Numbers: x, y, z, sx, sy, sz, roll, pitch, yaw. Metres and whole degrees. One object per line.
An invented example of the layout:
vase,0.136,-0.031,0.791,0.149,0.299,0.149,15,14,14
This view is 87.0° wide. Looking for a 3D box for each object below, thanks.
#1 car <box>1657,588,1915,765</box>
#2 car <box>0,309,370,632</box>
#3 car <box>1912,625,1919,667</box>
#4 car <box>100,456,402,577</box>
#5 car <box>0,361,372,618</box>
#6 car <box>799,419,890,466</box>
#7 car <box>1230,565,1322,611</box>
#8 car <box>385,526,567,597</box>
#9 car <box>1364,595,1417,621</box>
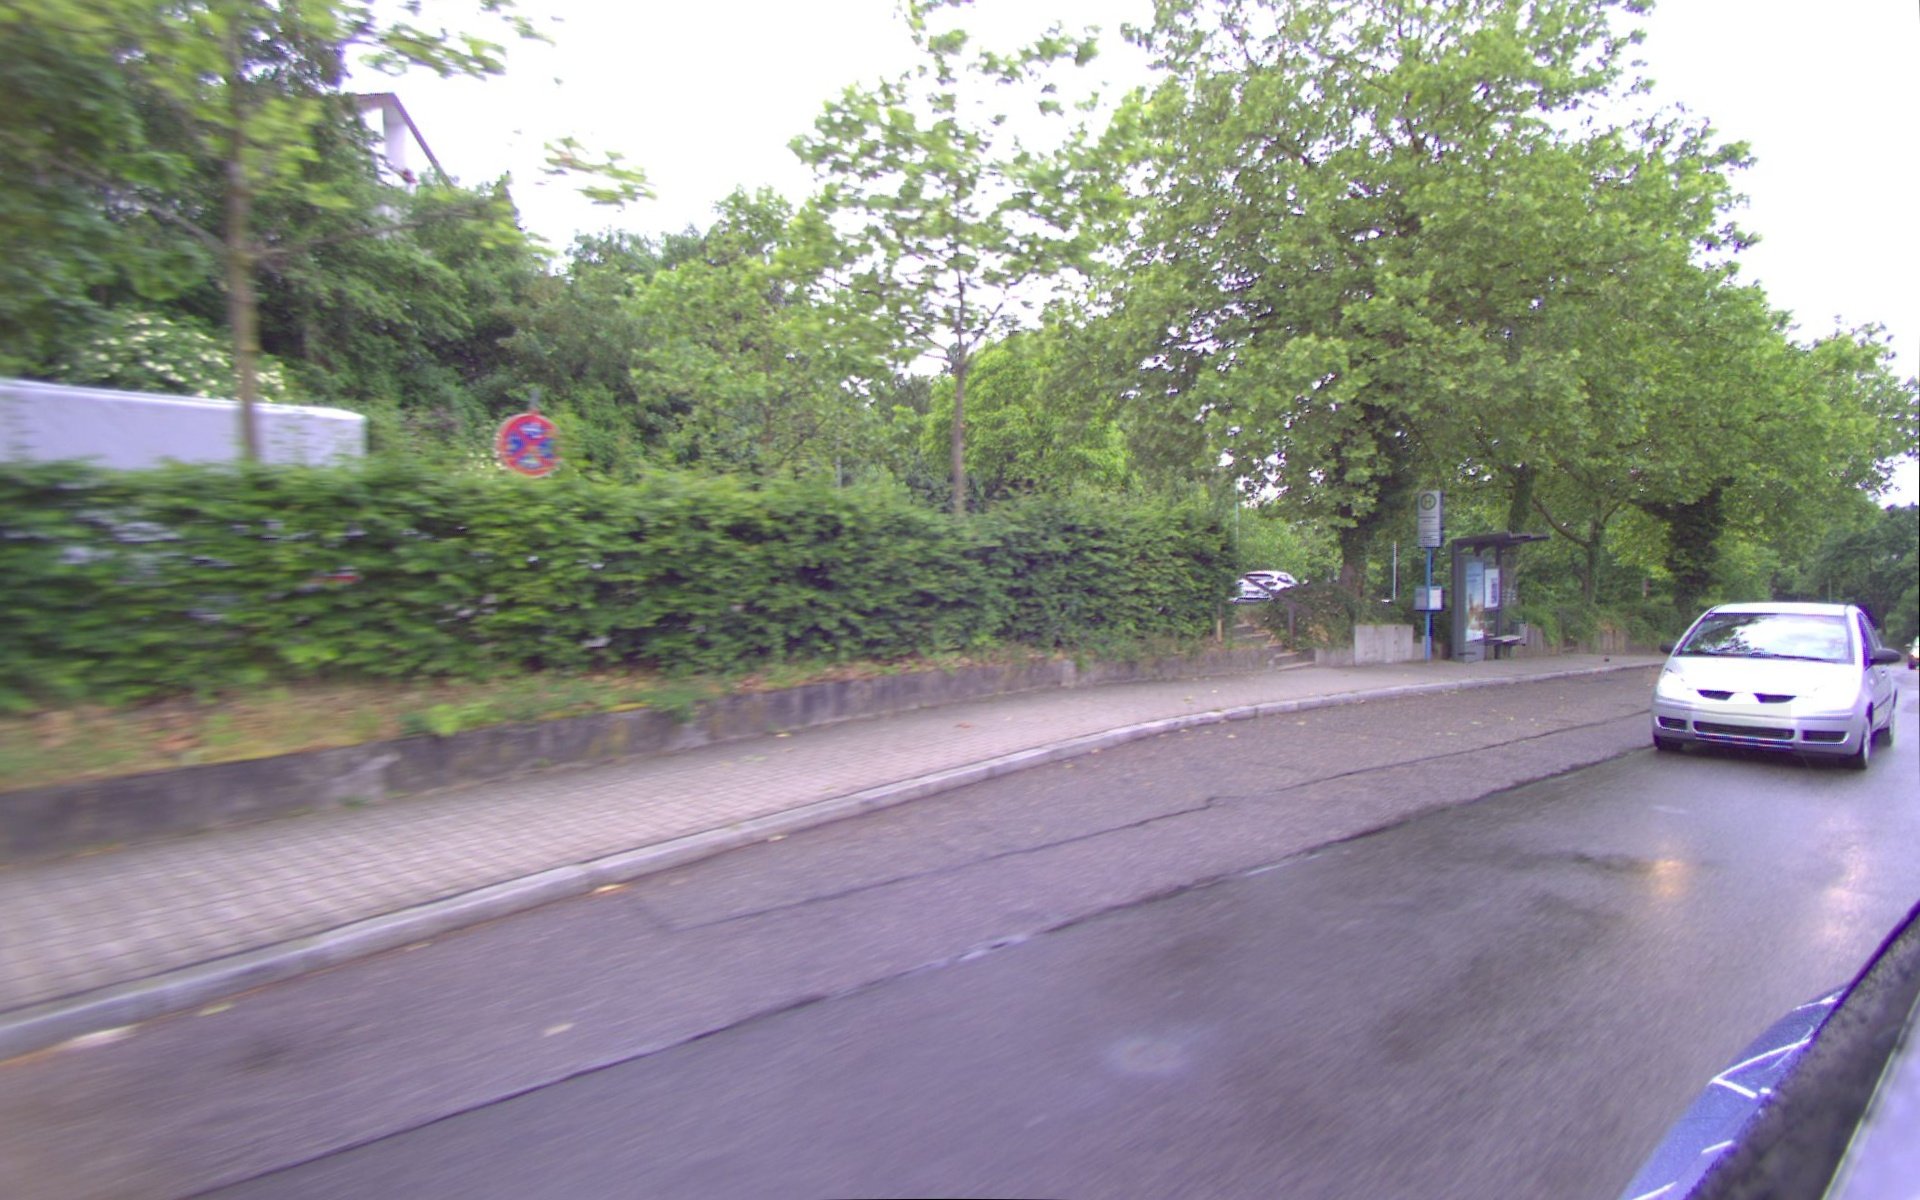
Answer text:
car,8.812,0.668,10.682,3.933,1.524,1.637,0,-1,-44
car,-7.336,-0.923,8.056,1.991,2.255,4.072,0,-2,40
car,41.926,1.972,42.729,3.928,1.723,2.034,3,-4,-40
car,-14.014,-1.568,20.083,5.127,2.040,1.989,0,-3,14
car,-9.281,-1.033,10.604,2.039,2.314,4.949,-1,-3,37
car,-5.723,-7.770,50.164,4.123,1.793,1.793,0,-3,17
car,12.088,-0.409,38.582,1.892,1.472,4.109,-2,-4,40
car,-12.726,-0.961,26.704,4.118,1.687,1.795,0,-3,14
car,26.930,0.525,63.272,1.892,1.472,4.109,-2,-4,40
